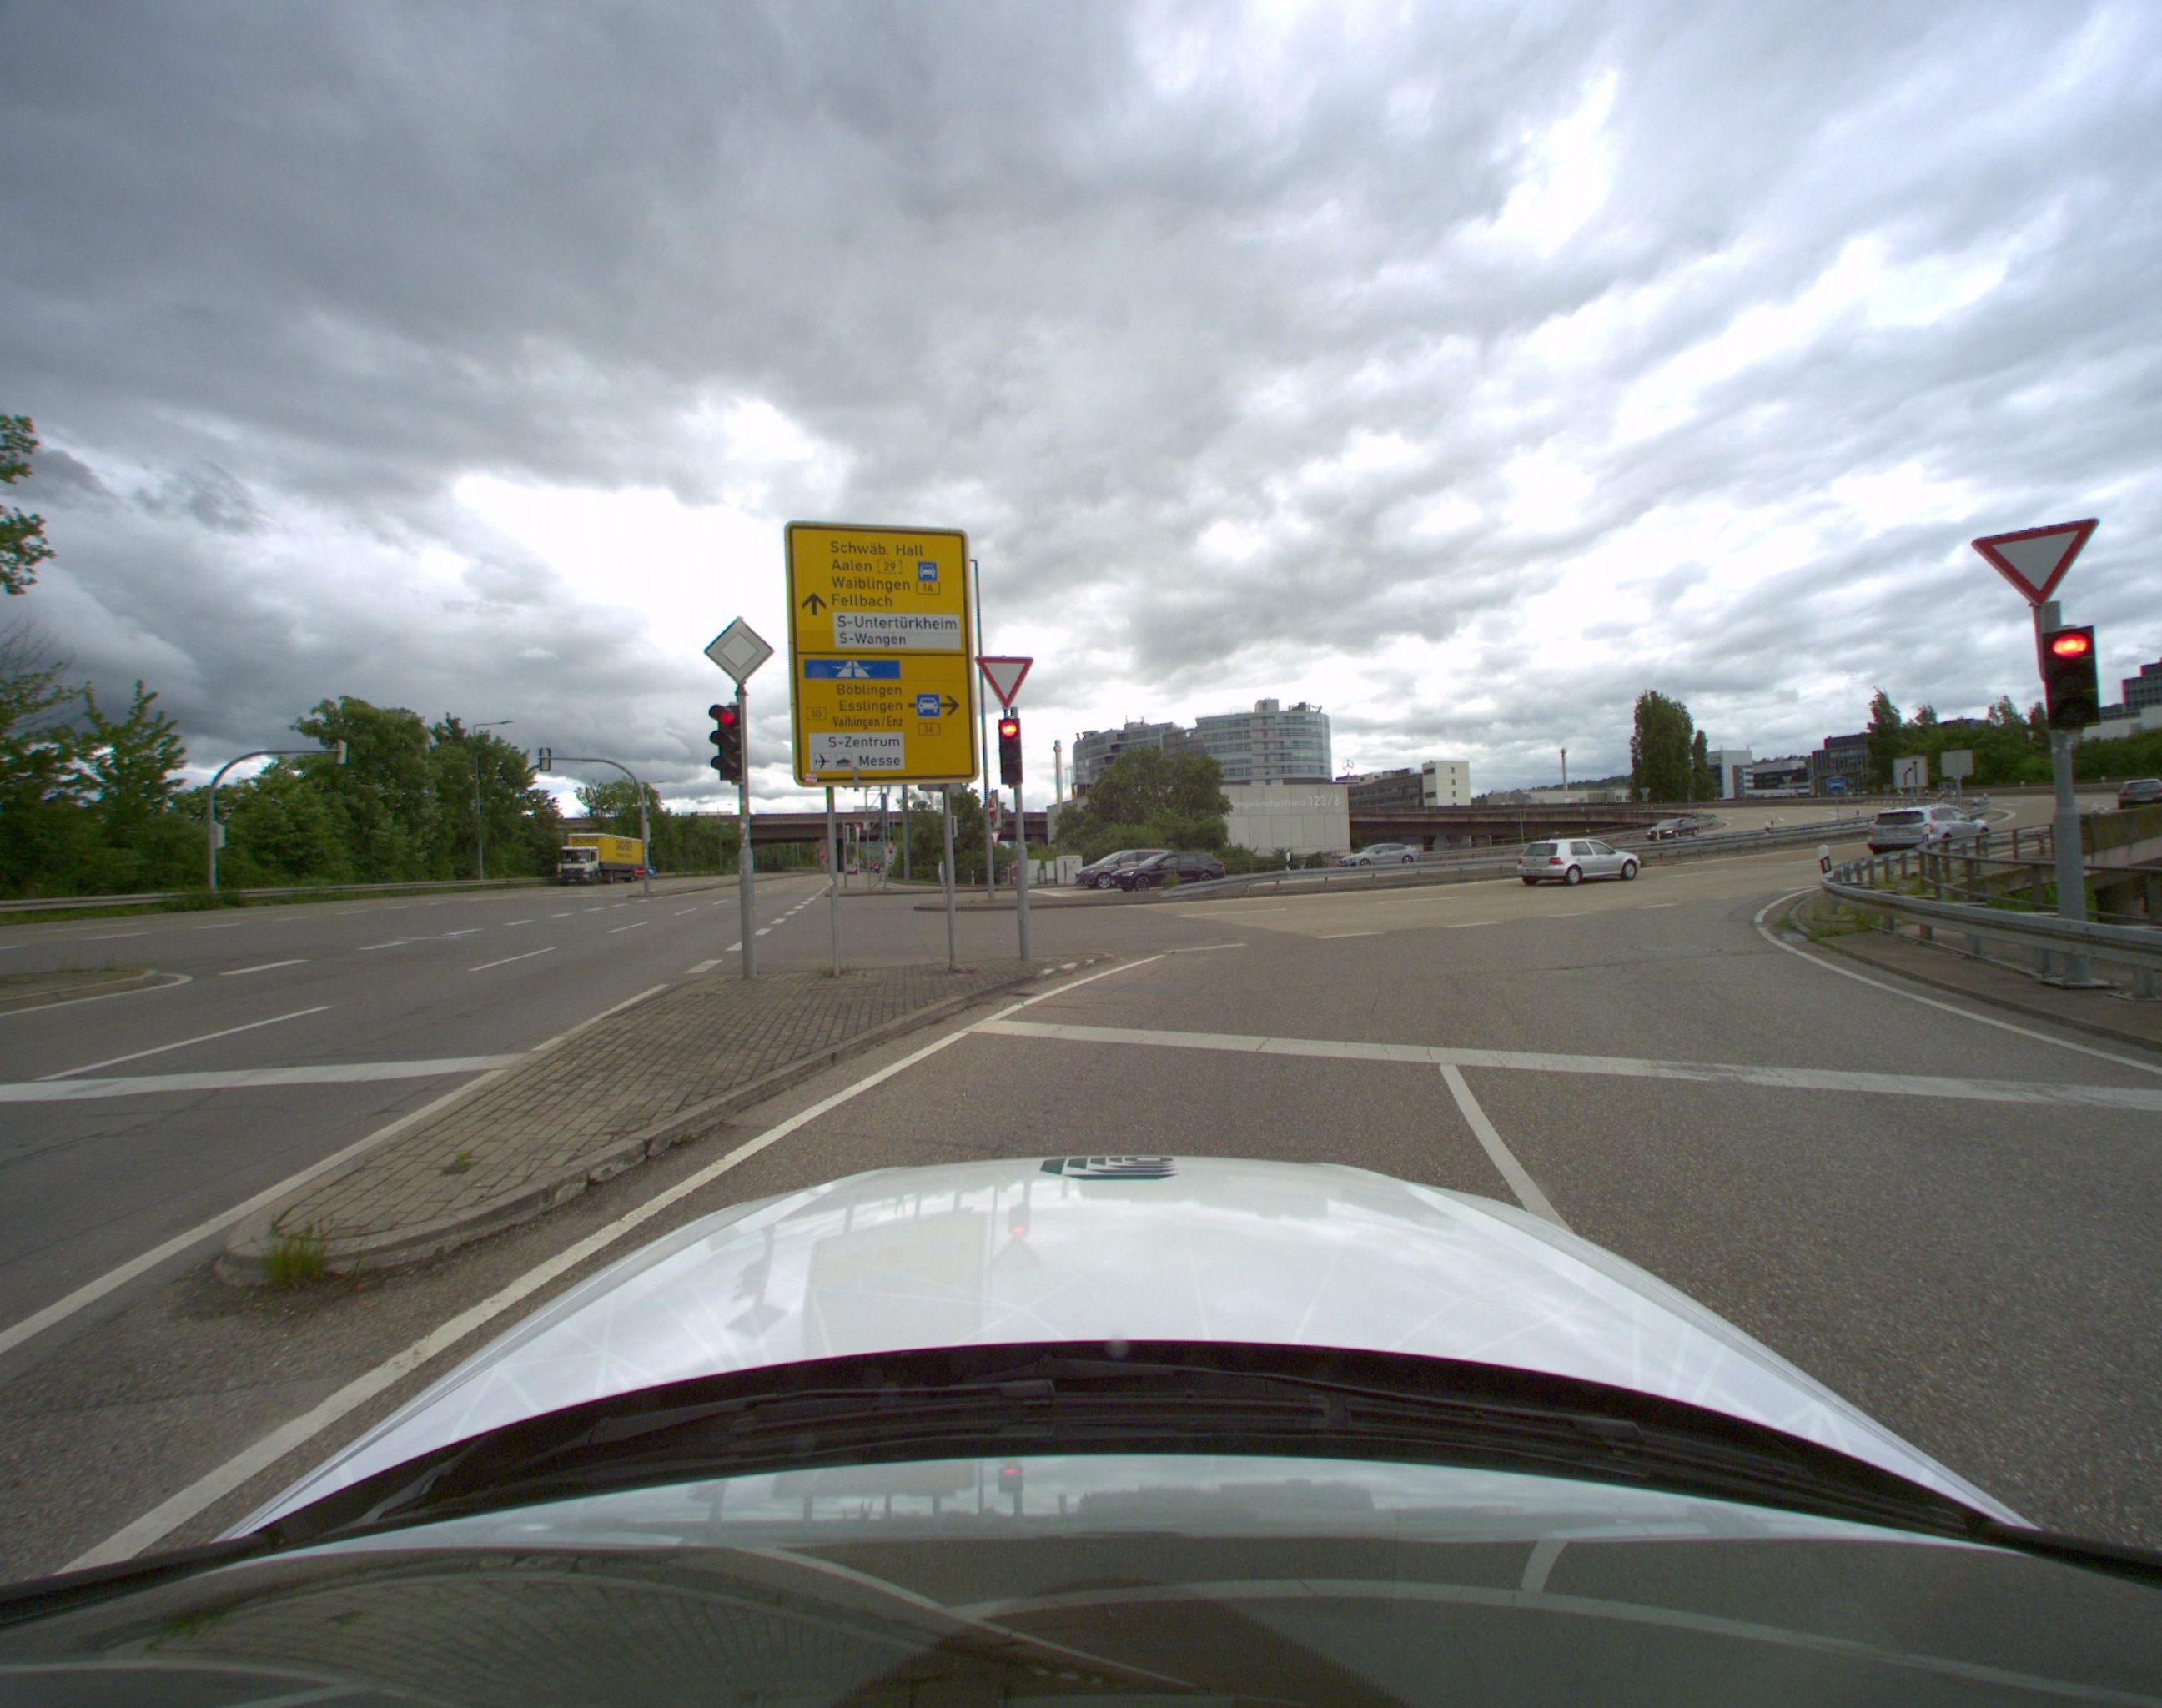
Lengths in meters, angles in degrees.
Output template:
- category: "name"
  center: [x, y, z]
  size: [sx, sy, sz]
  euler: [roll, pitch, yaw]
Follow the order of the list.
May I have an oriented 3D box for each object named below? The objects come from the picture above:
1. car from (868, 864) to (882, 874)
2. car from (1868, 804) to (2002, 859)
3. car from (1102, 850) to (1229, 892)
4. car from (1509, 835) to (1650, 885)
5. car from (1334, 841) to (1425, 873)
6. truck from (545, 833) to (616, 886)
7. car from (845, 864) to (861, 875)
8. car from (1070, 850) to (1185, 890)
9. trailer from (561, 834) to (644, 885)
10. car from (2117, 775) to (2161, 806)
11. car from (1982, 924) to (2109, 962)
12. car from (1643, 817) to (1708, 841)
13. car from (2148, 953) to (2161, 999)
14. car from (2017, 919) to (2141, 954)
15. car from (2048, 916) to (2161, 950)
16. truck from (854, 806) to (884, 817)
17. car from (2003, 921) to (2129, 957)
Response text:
- category: "car"
  center: [-31.821, 2.381, 125.907]
  size: [1.996, 1.464, 4.091]
  euler: [0, -2, -13]
- category: "car"
  center: [29.253, -0.789, 27.885]
  size: [4.562, 1.737, 1.716]
  euler: [-2, 0, -24]
- category: "car"
  center: [3.326, 0.639, 32.169]
  size: [4.617, 1.457, 1.945]
  euler: [-1, 1, -17]
- category: "car"
  center: [15.996, 0.170, 26.140]
  size: [4.067, 1.400, 1.718]
  euler: [-2, 0, -21]
- category: "car"
  center: [17.484, 0.174, 47.734]
  size: [4.737, 1.662, 1.907]
  euler: [2, 0, -14]
- category: "truck"
  center: [-40.195, 0.443, 65.651]
  size: [2.875, 4.084, 6.458]
  euler: [1, 0, -13]
- category: "car"
  center: [-31.666, 2.163, 113.161]
  size: [1.996, 1.442, 4.090]
  euler: [0, -2, -14]
- category: "car"
  center: [2.019, 0.661, 35.950]
  size: [4.689, 1.571, 1.945]
  euler: [-1, 1, -16]
- category: "trailer"
  center: [-41.436, 0.465, 71.008]
  size: [2.875, 4.084, 11.376]
  euler: [1, 0, -13]
- category: "car"
  center: [57.453, -3.412, 43.848]
  size: [4.268, 1.461, 1.709]
  euler: [-3, 0, -42]
- category: "car"
  center: [48.153, 4.403, 40.725]
  size: [1.832, 1.354, 3.827]
  euler: [-3, 1, -29]
- category: "car"
  center: [41.343, -1.753, 56.643]
  size: [4.000, 1.421, 1.900]
  euler: [-4, 2, -25]
- category: "car"
  center: [41.964, 4.509, 30.376]
  size: [4.006, 1.534, 1.812]
  euler: [-3, 1, -25]
- category: "car"
  center: [52.196, 4.267, 42.658]
  size: [1.832, 1.354, 3.827]
  euler: [-3, 1, -29]
- category: "car"
  center: [54.894, 4.183, 43.549]
  size: [1.832, 1.354, 3.827]
  euler: [-3, 1, -29]
- category: "truck"
  center: [-43.137, -8.632, 165.678]
  size: [5.600, 2.163, 2.001]
  euler: [-1, 0, 2]
- category: "car"
  center: [50.309, 4.314, 41.678]
  size: [1.832, 1.354, 3.827]
  euler: [-3, 1, -29]
